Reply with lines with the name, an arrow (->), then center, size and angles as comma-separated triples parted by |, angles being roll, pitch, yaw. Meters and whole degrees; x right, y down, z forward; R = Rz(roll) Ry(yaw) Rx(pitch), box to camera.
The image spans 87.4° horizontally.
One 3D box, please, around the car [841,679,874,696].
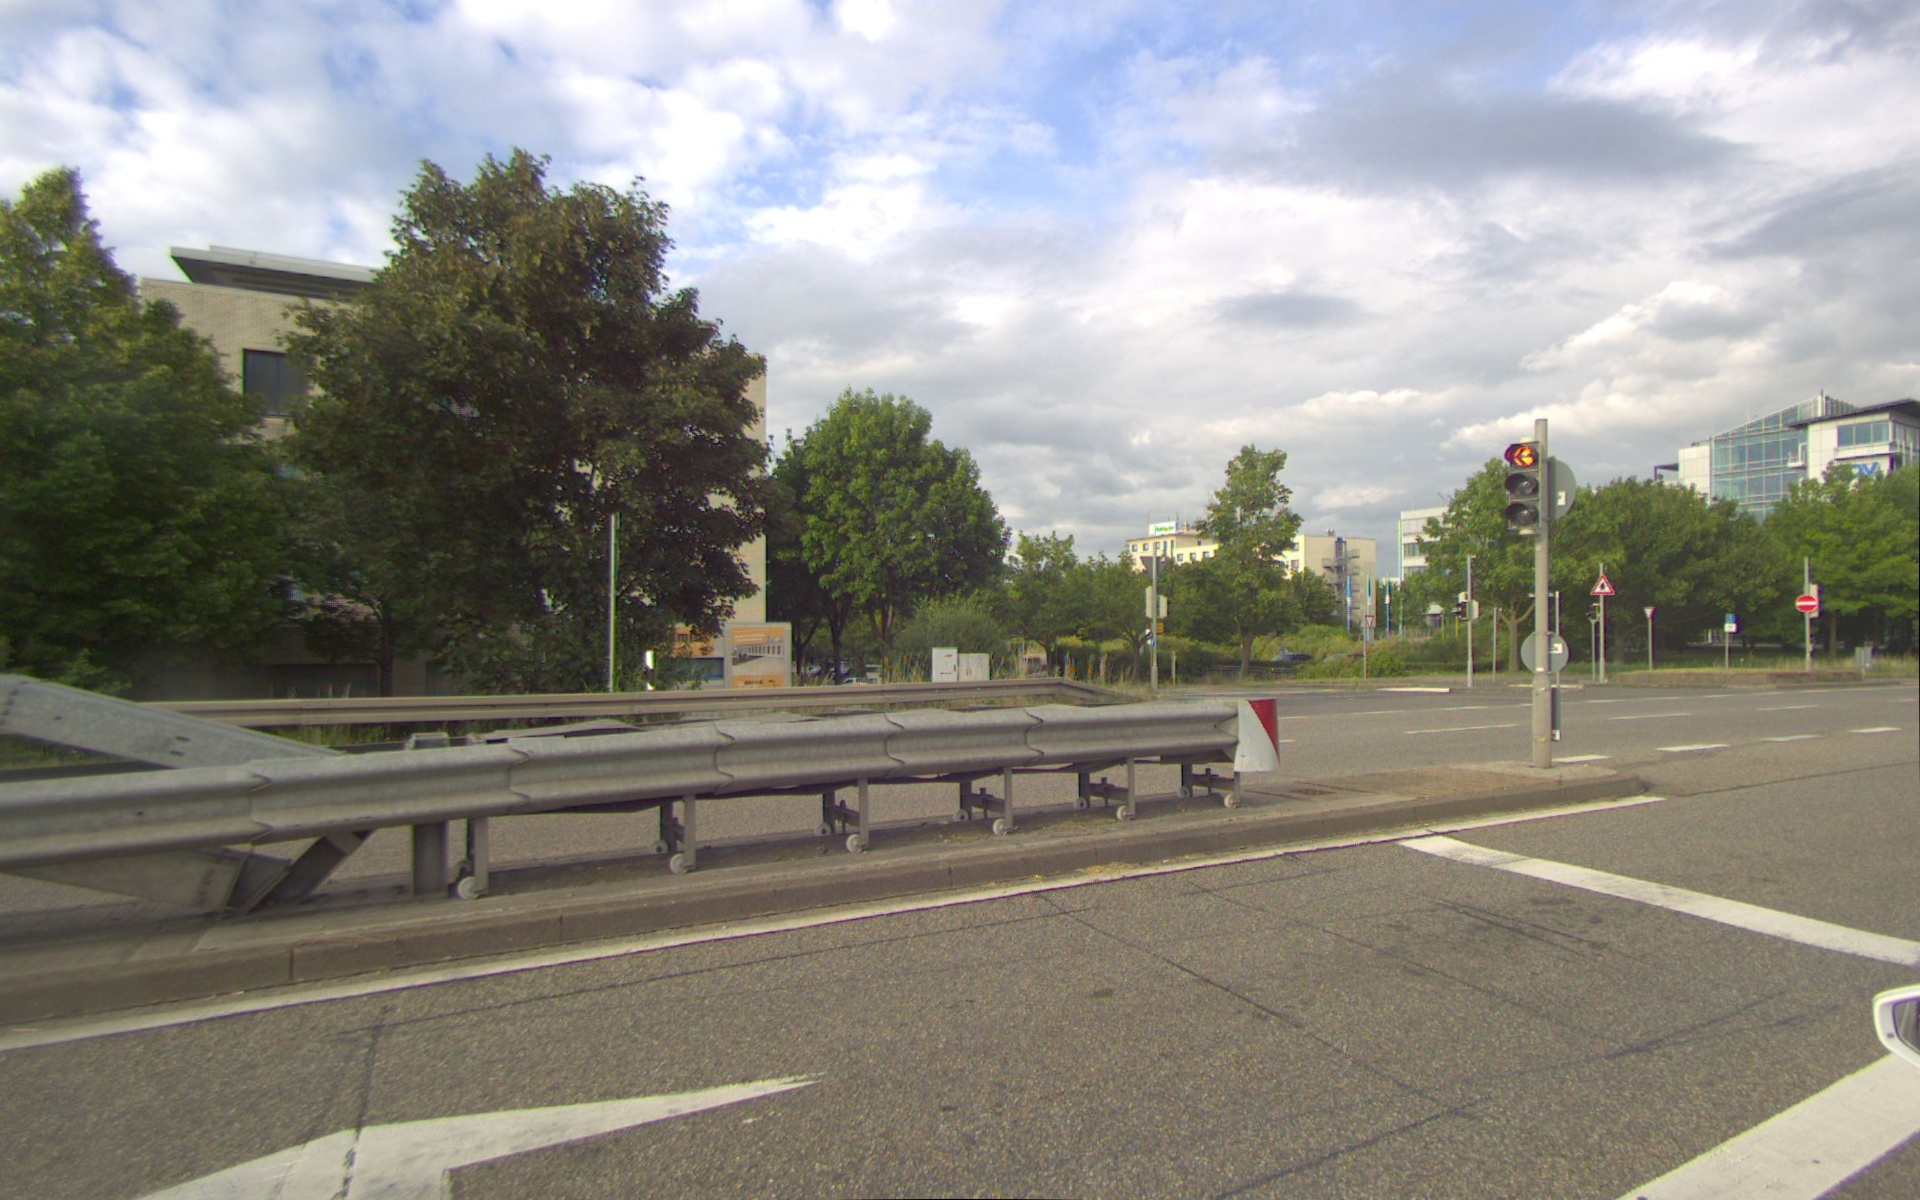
car -> -8.703, 7.424, 84.896 | 1.566, 1.359, 3.727 | 1, -5, -27
